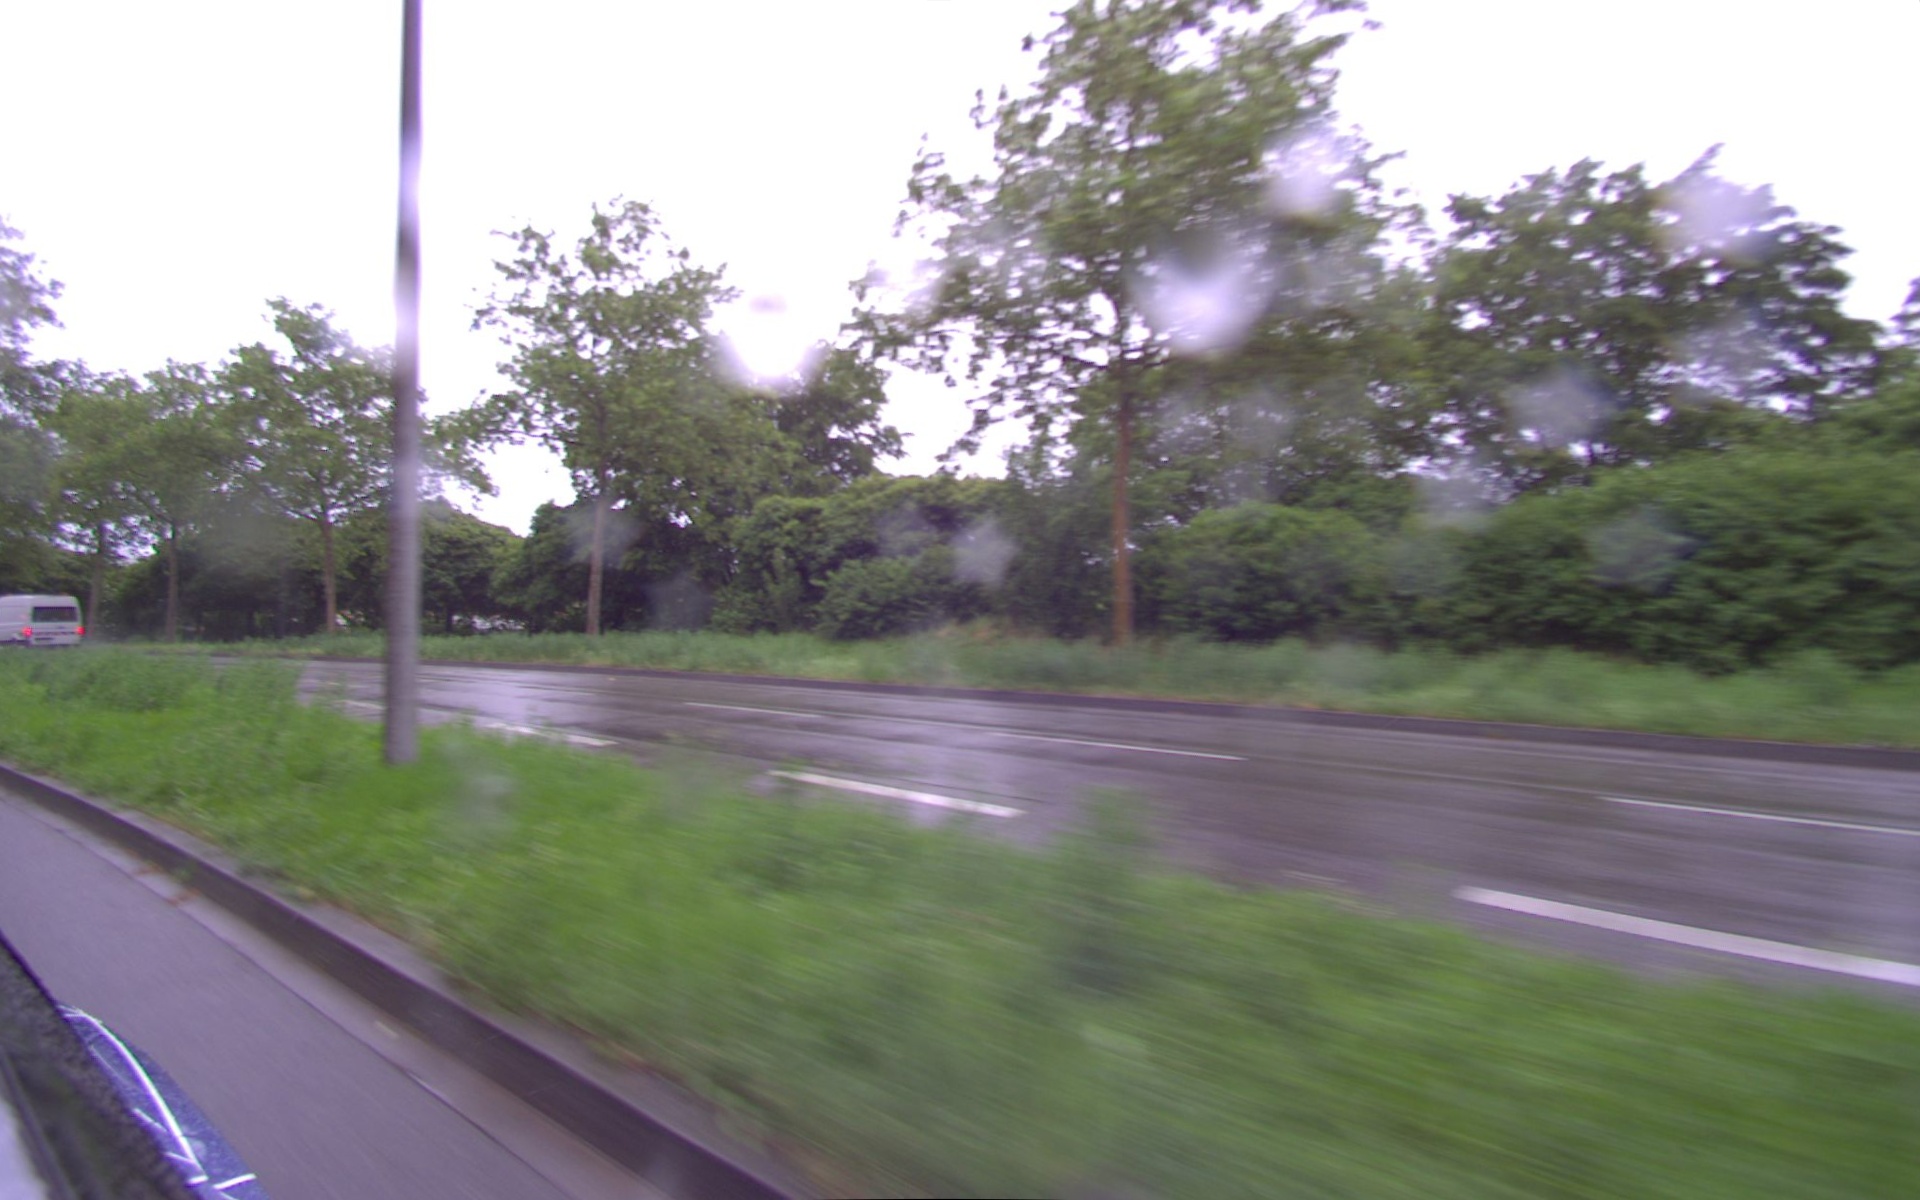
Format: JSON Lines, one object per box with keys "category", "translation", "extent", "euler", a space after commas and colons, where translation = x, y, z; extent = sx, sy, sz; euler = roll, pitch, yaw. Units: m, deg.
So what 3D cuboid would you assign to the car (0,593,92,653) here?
{"category": "car", "translation": [-40.085, 1.016, 43.512], "extent": [6.336, 2.445, 2.262], "euler": [-1, -2, 31]}
